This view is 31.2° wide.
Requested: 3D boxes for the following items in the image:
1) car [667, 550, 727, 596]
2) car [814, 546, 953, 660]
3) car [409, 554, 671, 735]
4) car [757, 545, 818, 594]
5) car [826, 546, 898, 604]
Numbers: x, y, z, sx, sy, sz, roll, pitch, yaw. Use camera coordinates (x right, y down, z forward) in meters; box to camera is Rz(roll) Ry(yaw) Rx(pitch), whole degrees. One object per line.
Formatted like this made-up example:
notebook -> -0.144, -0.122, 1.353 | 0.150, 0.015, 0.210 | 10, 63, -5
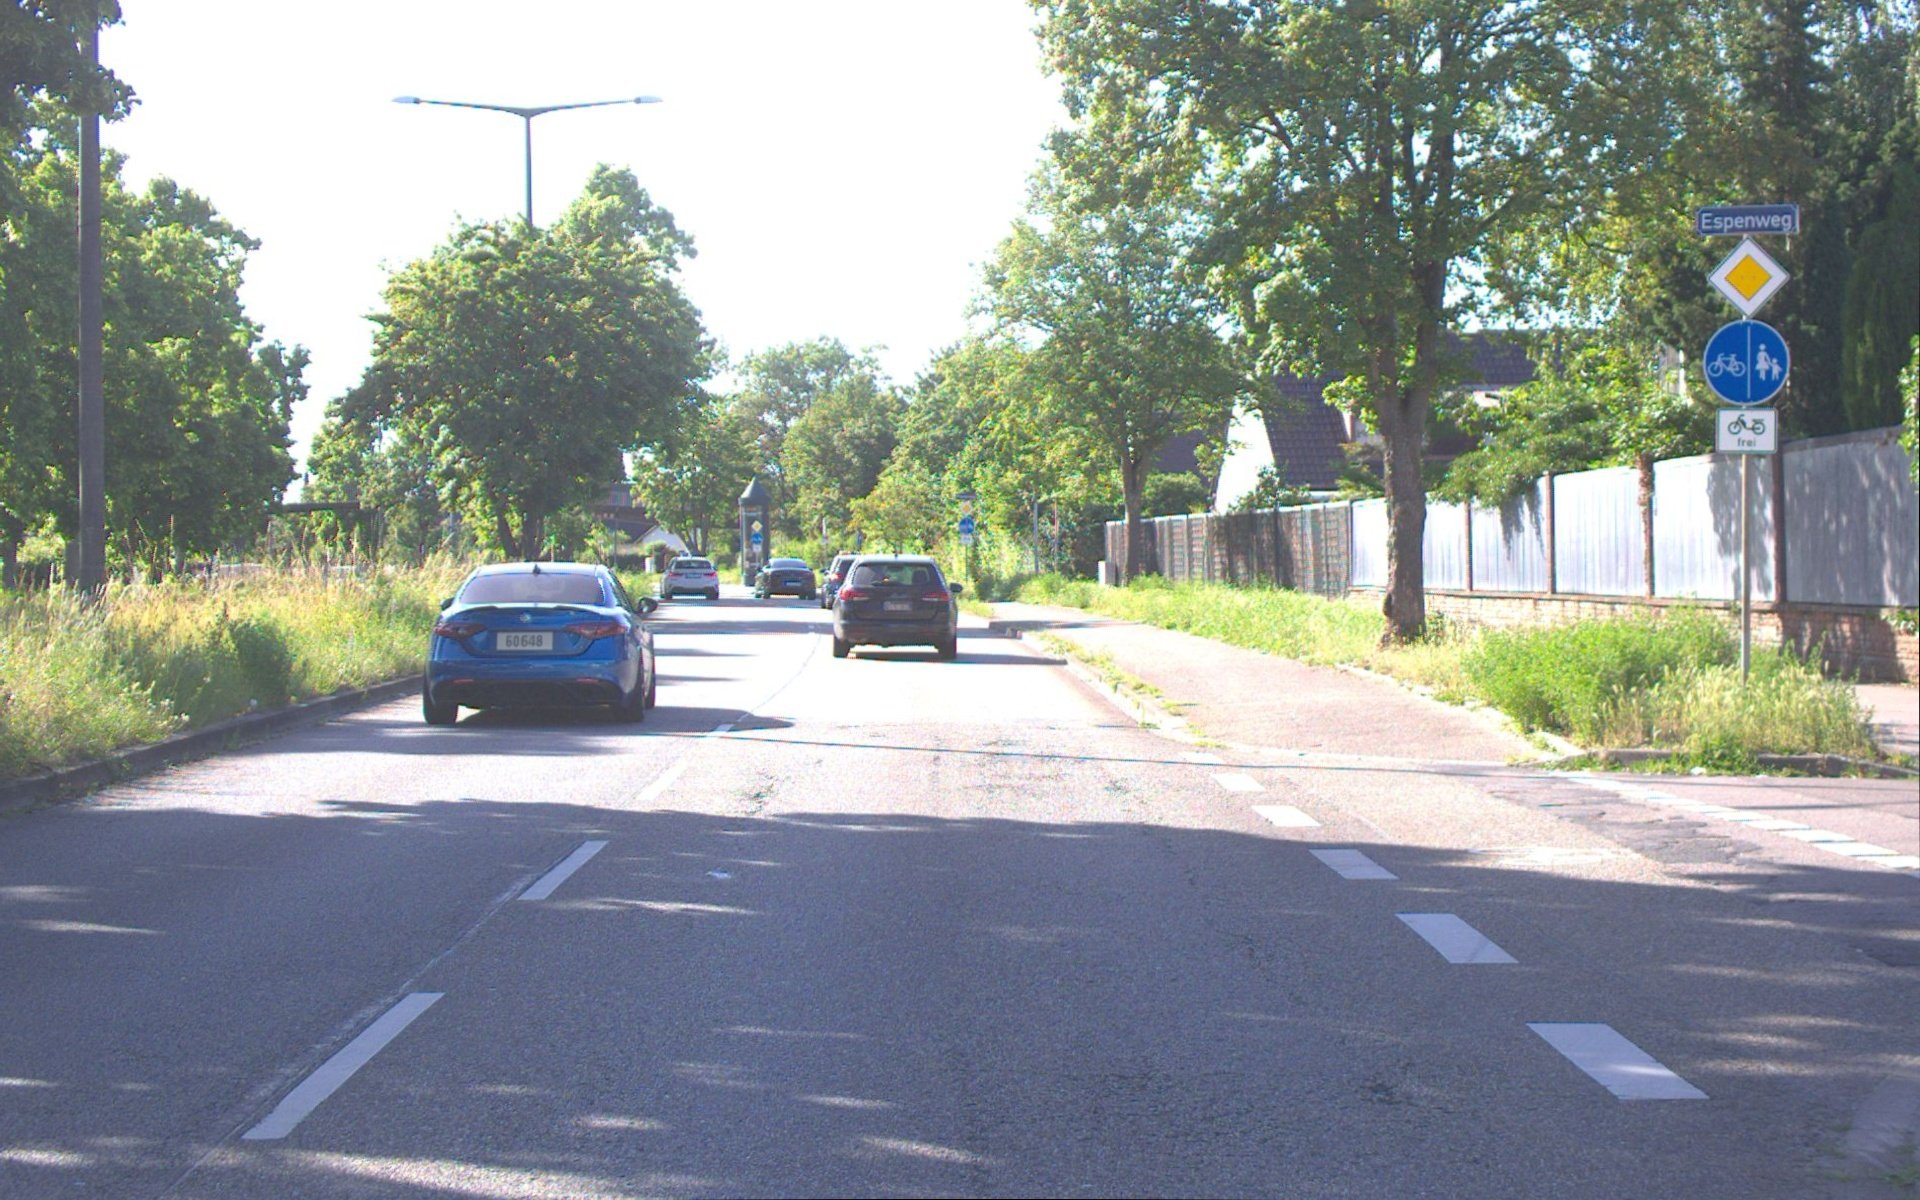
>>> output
car -> -8.950, -0.933, 117.074 | 1.915, 1.507, 4.068 | 0, 1, -3
car -> -1.118, 0.027, 49.928 | 1.915, 1.574, 4.182 | 1, 0, -2
car -> -3.731, 0.349, 31.211 | 1.838, 1.469, 4.185 | -1, 1, 0
car -> -6.075, -1.079, 120.820 | 1.915, 1.672, 4.013 | 1, 0, -6
car -> -2.751, -0.701, 95.809 | 1.915, 1.574, 4.182 | 1, 0, -3
